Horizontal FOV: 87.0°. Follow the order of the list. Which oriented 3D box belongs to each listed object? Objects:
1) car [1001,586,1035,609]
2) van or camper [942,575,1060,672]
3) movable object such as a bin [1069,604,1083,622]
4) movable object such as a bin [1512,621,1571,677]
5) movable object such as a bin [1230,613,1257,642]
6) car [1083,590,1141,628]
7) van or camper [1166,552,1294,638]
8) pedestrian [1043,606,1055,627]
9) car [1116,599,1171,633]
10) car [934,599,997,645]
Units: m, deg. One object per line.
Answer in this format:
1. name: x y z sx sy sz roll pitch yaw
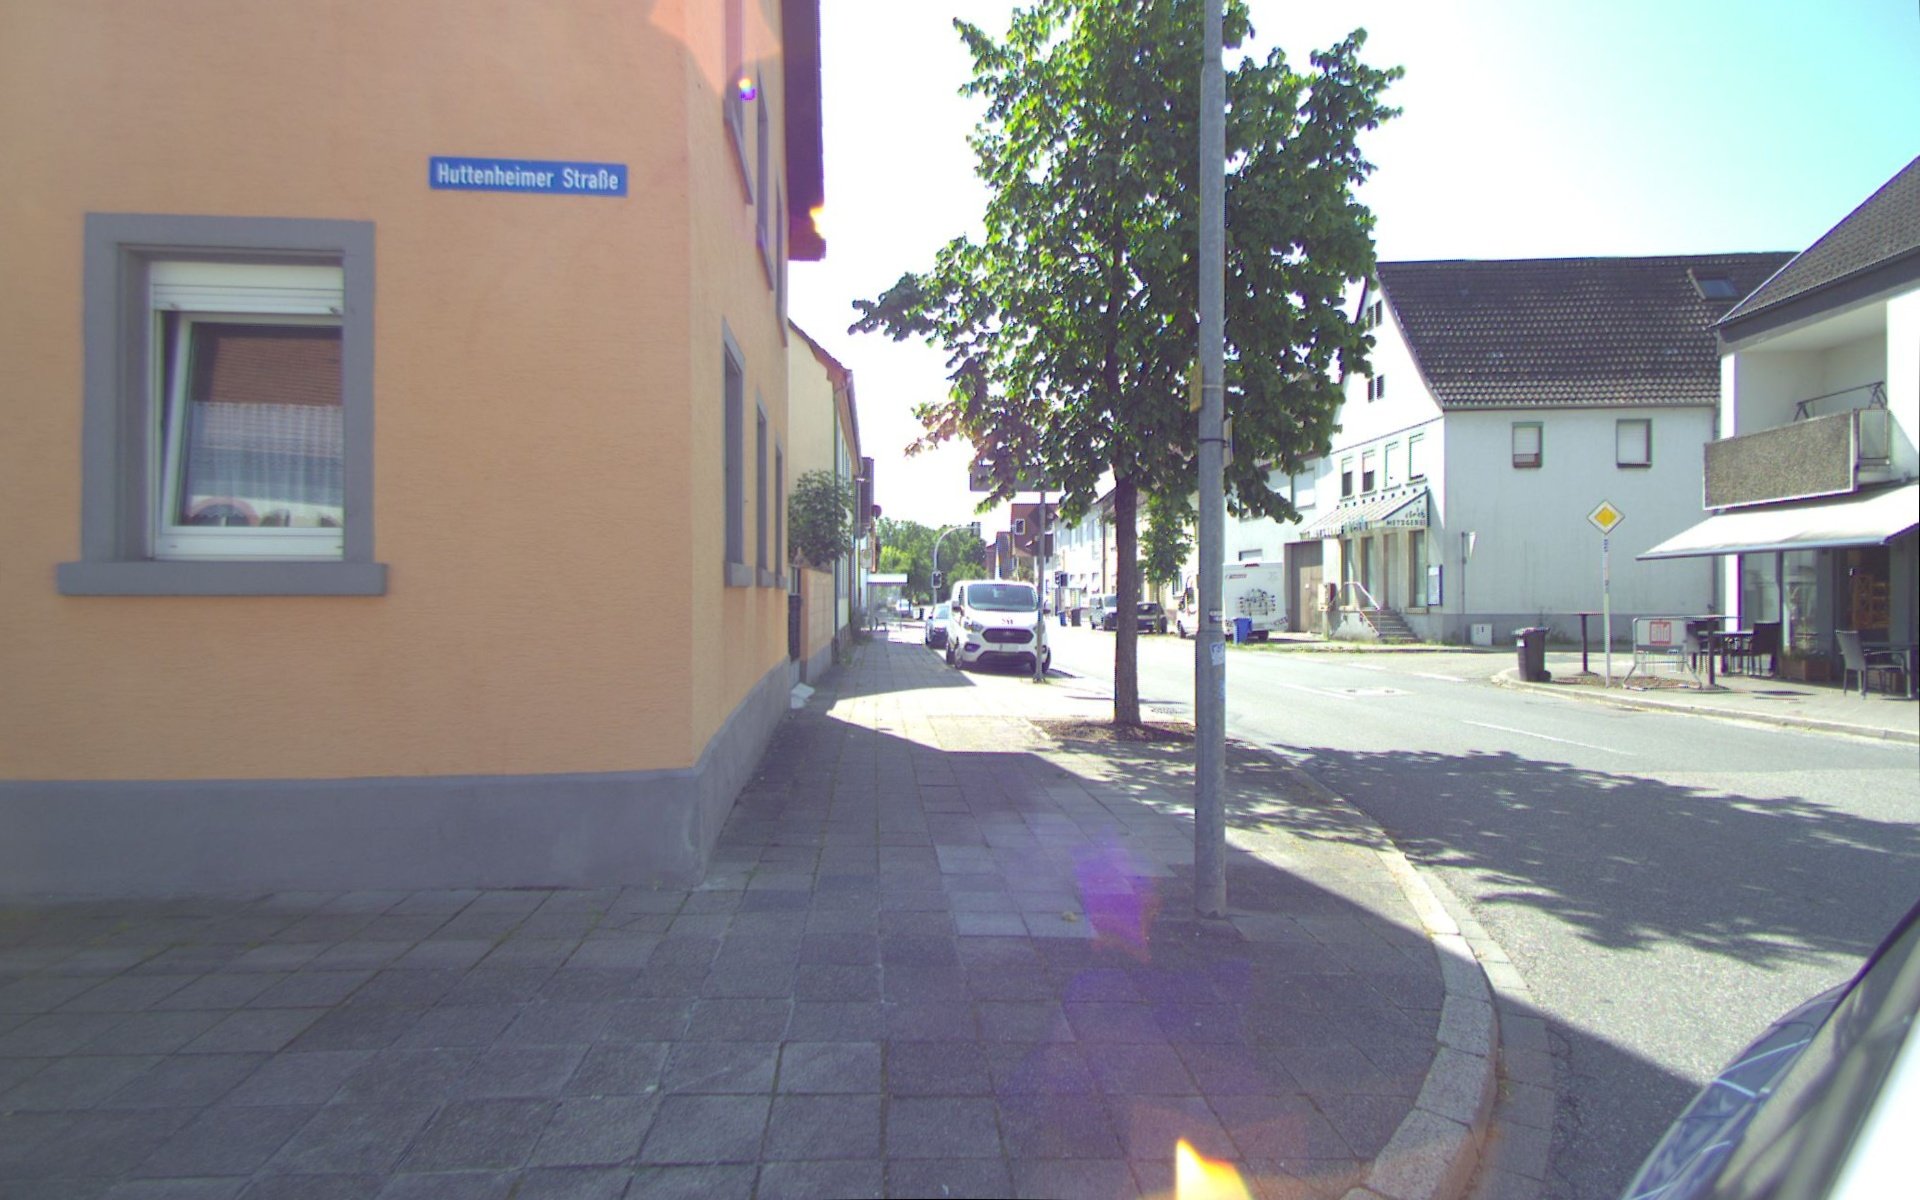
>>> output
1. car: 4.867 -0.185 85.589 2.311 1.871 4.959 0 0 -3
2. van or camper: 0.798 0.466 23.314 1.960 1.978 5.352 0 0 -6
3. movable object such as a bin: 6.975 0.771 60.892 0.704 1.080 0.551 -1 0 -6
4. movable object such as a bin: 10.143 0.849 17.673 0.632 0.936 0.614 -1 0 -5
5. movable object such as a bin: 9.076 0.876 32.412 0.632 0.883 0.614 -1 0 -5
6. car: 7.926 0.460 53.216 1.961 1.871 4.959 -1 0 -3
7. van or camper: 10.066 -0.179 38.510 2.405 2.941 7.073 -1 0 -5
8. pedestrian: 6.678 1.220 75.858 0.738 1.551 0.581 -1 0 -6
9. car: 8.583 0.729 47.580 1.657 1.501 3.621 -1 0 -5
10. car: 0.118 0.680 33.867 1.699 1.445 3.990 0 0 -6
